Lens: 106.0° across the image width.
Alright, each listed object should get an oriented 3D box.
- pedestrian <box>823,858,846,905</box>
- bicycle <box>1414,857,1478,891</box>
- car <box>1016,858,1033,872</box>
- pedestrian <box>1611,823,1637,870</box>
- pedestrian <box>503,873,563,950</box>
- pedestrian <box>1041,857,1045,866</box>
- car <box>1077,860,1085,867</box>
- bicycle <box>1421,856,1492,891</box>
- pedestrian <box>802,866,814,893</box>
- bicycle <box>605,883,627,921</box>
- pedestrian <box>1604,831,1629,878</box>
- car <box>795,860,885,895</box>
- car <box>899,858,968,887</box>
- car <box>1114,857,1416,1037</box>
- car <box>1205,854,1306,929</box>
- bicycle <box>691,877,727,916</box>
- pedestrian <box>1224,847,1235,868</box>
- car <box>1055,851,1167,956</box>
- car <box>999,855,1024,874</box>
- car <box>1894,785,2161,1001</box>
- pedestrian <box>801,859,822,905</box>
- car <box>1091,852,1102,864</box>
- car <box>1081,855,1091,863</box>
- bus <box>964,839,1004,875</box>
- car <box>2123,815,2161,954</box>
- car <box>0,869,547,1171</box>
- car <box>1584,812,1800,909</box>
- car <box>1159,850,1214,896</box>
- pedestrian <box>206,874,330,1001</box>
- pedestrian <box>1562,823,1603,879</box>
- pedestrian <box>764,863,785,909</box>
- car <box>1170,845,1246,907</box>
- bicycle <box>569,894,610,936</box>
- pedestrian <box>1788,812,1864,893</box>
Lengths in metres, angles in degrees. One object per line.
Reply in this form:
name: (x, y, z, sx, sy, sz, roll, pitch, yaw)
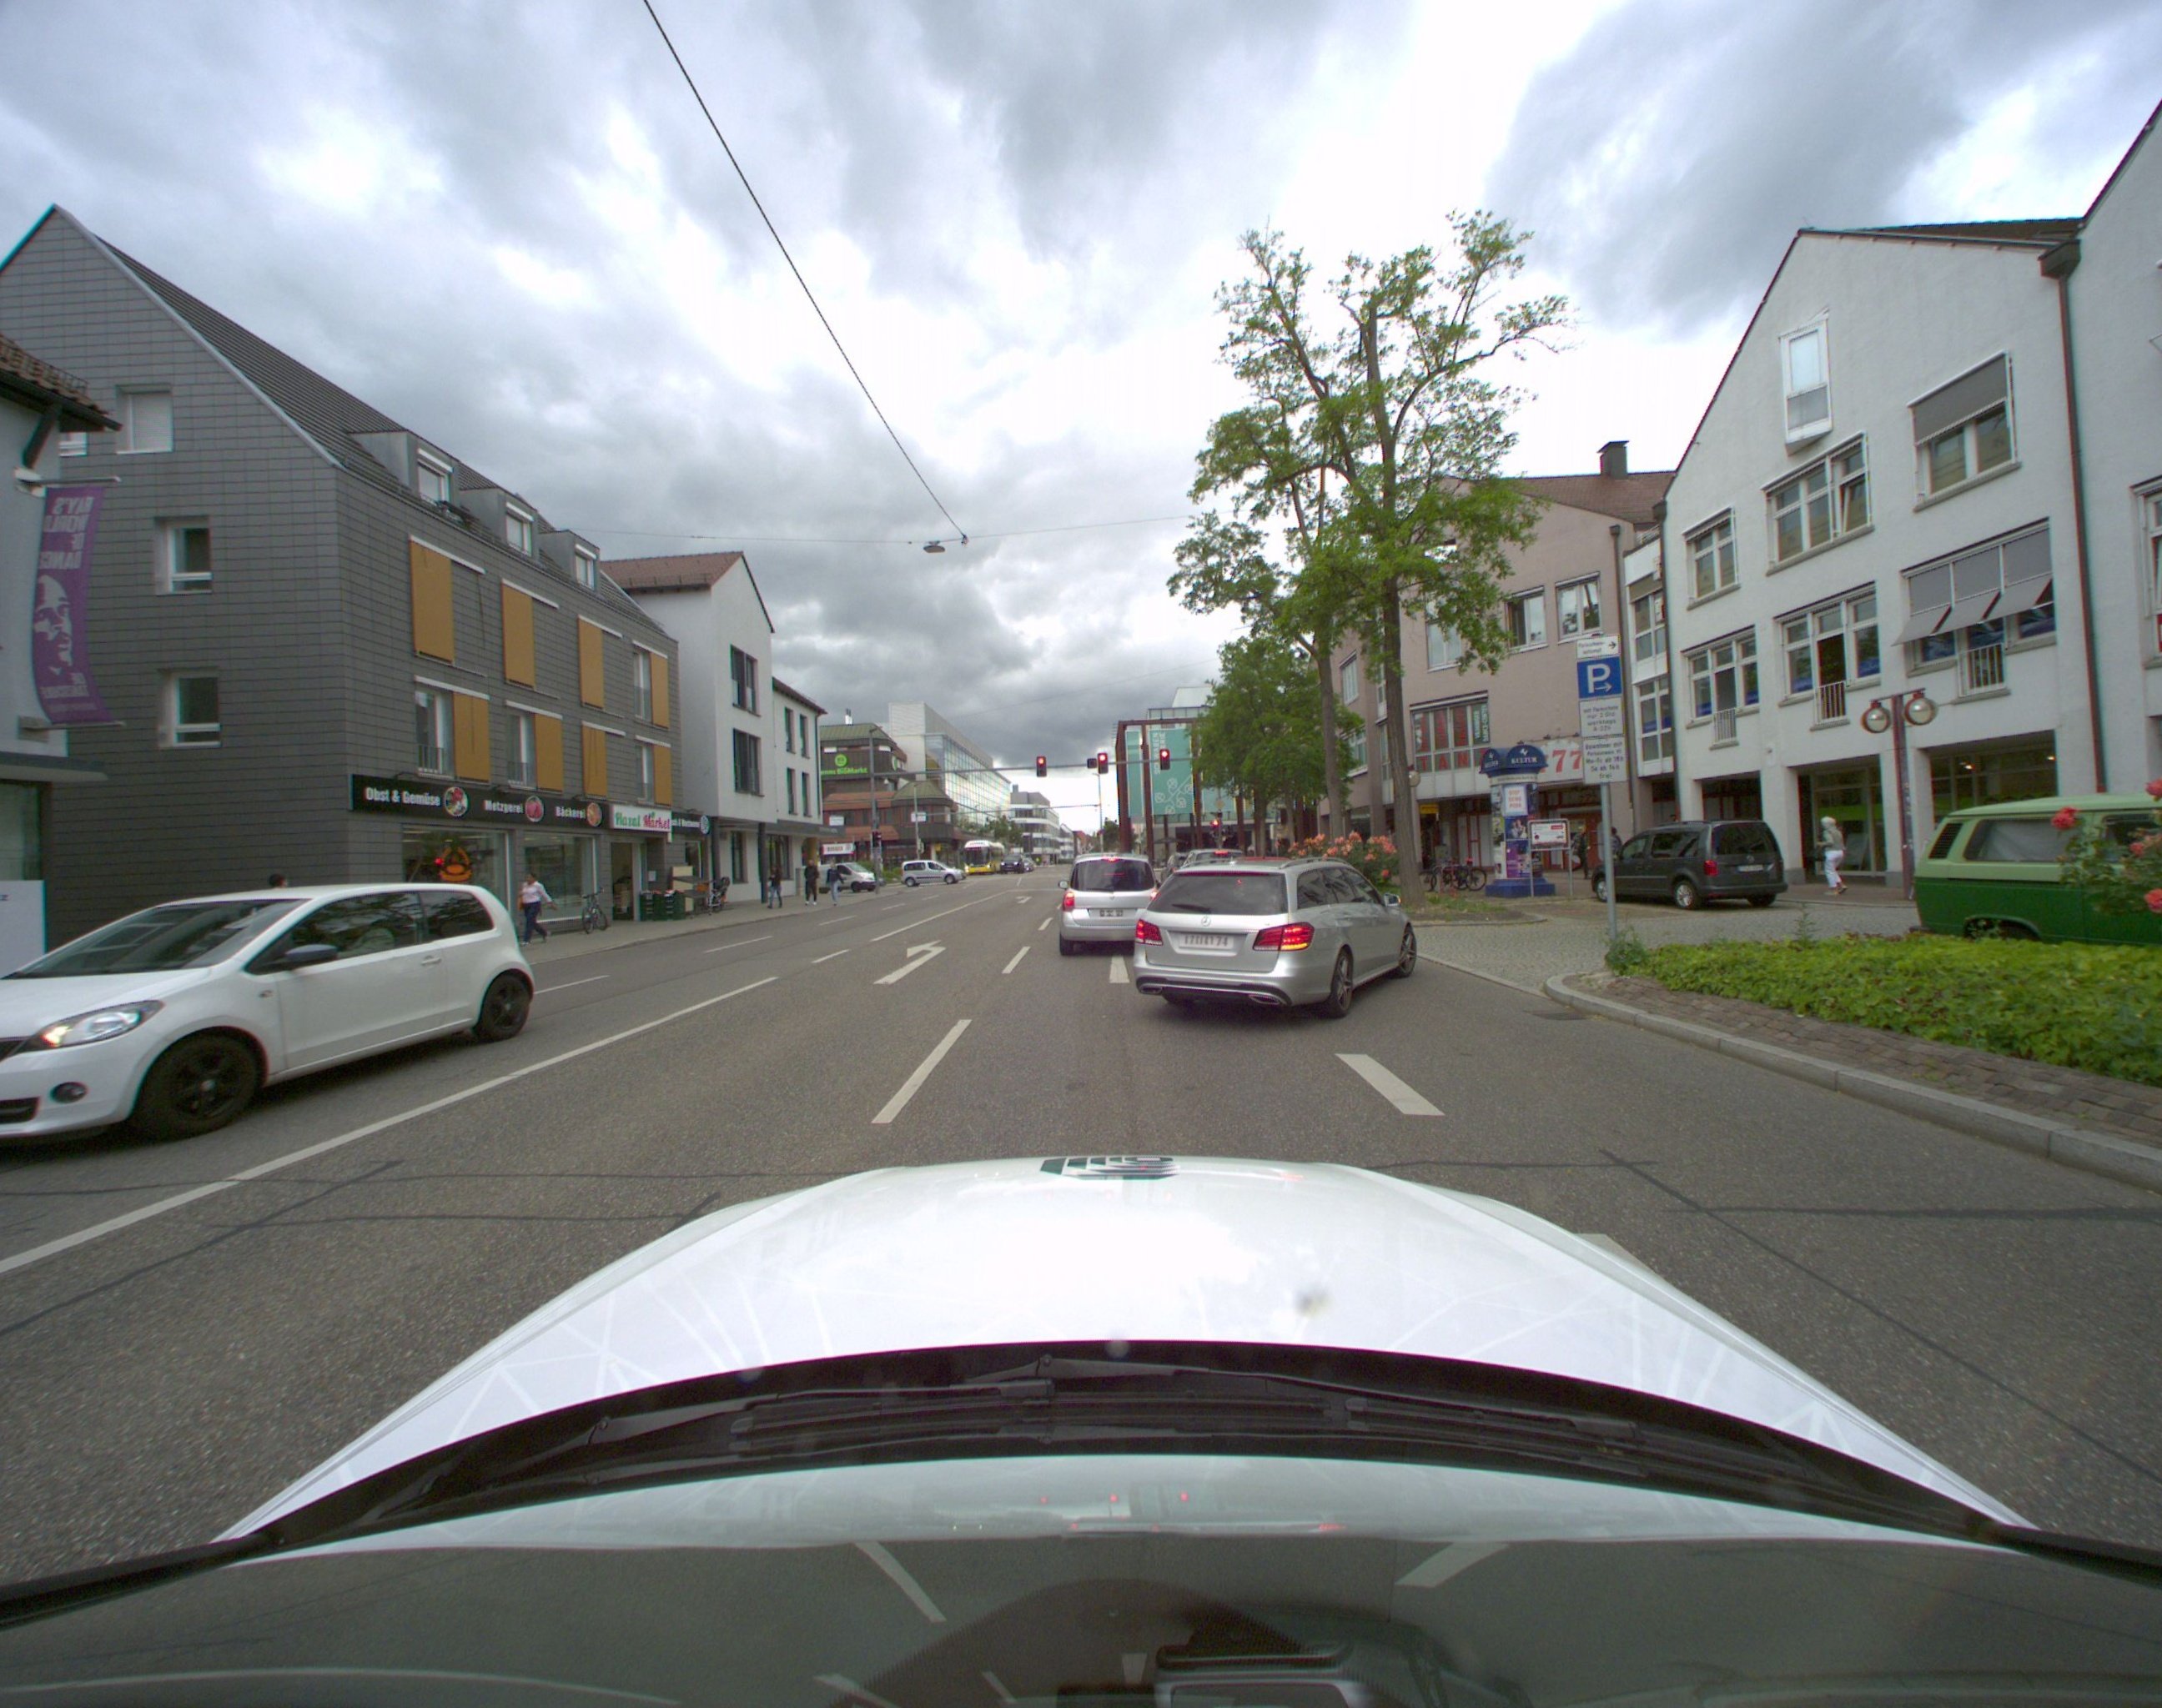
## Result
pedestrian: (-9.639, 1.054, 31.885, 0.681, 1.790, 0.647, -2, 0, -9)
bicycle: (11.462, 0.618, 25.624, 1.760, 0.997, 0.447, -2, 0, 5)
car: (-5.932, 1.140, 85.803, 1.550, 1.392, 3.288, -2, 0, 1)
pedestrian: (18.381, -0.248, 27.545, 0.614, 1.563, 0.669, -2, 0, 40)
pedestrian: (-12.101, 1.249, 18.000, 0.725, 1.610, 0.753, -2, 0, 2)
pedestrian: (-7.673, 1.567, 164.353, 0.483, 1.734, 0.524, -2, 0, 26)
car: (0.008, 2.568, 220.364, 1.793, 1.540, 4.068, -2, 0, 3)
bicycle: (11.541, 0.596, 25.067, 1.892, 0.997, 0.468, -2, 0, 5)
pedestrian: (-17.060, 1.598, 50.923, 0.664, 1.649, 0.788, -2, 0, -19)
bicycle: (-14.373, 1.479, 25.166, 0.389, 1.127, 1.275, -2, 0, -38)
pedestrian: (17.780, 0.011, 27.047, 0.614, 1.515, 0.615, -2, 0, 38)
car: (-15.503, 1.518, 52.395, 5.105, 1.888, 2.007, -4, 0, 13)
car: (-10.097, 1.249, 55.911, 4.369, 1.773, 1.328, -2, 0, 2)
car: (2.270, 0.769, 8.942, 1.797, 1.448, 4.397, -1, 0, 33)
car: (3.658, 0.736, 17.573, 1.580, 1.443, 3.350, 0, 0, 2)
bicycle: (-12.516, 1.411, 27.447, 0.385, 1.186, 1.825, -3, 0, -1)
pedestrian: (11.976, 0.273, 65.688, 0.652, 1.650, 0.557, -2, 0, -13)
car: (0.496, 0.730, 13.735, 1.634, 1.527, 3.395, -1, 0, 2)
car: (-6.651, 0.993, 78.094, 1.987, 1.706, 4.065, -2, 0, 1)
car: (10.285, 0.281, 7.021, 1.874, 1.876, 4.605, -4, 0, 0)
pedestrian: (-10.684, 1.116, 32.276, 0.567, 1.775, 0.646, -2, 0, -4)
car: (2.919, 0.730, 151.356, 1.987, 1.949, 4.951, -2, 0, 1)
car: (1.005, 1.065, 163.028, 1.793, 1.540, 4.068, -2, 0, 3)
bus: (-9.569, 0.280, 80.943, 2.677, 3.261, 8.654, -2, 0, 1)
car: (12.943, 0.286, 7.198, 1.790, 1.542, 4.393, -4, 0, 0)
car: (-5.932, 0.934, 6.012, 1.568, 1.488, 3.465, -3, 0, 1)
car: (13.331, 0.119, 18.111, 1.633, 1.831, 3.963, -3, 0, -2)
car: (3.890, 0.675, 30.468, 1.581, 1.595, 3.868, 0, 0, 0)
pedestrian: (-11.616, 1.159, 11.679, 0.751, 1.705, 0.981, 1, 0, 1)
pedestrian: (16.646, -0.102, 27.042, 0.786, 1.793, 0.819, -2, 0, 1)
pedestrian: (-11.396, 1.180, 30.304, 0.654, 1.650, 0.555, -2, 0, -22)
car: (3.571, 0.591, 23.461, 1.581, 1.634, 3.916, 0, 0, 0)
bicycle: (-12.410, 1.522, 20.584, 0.325, 0.954, 1.479, -2, 0, -9)
pedestrian: (16.168, -0.034, 17.700, 0.786, 1.659, 0.819, -4, 0, 1)
